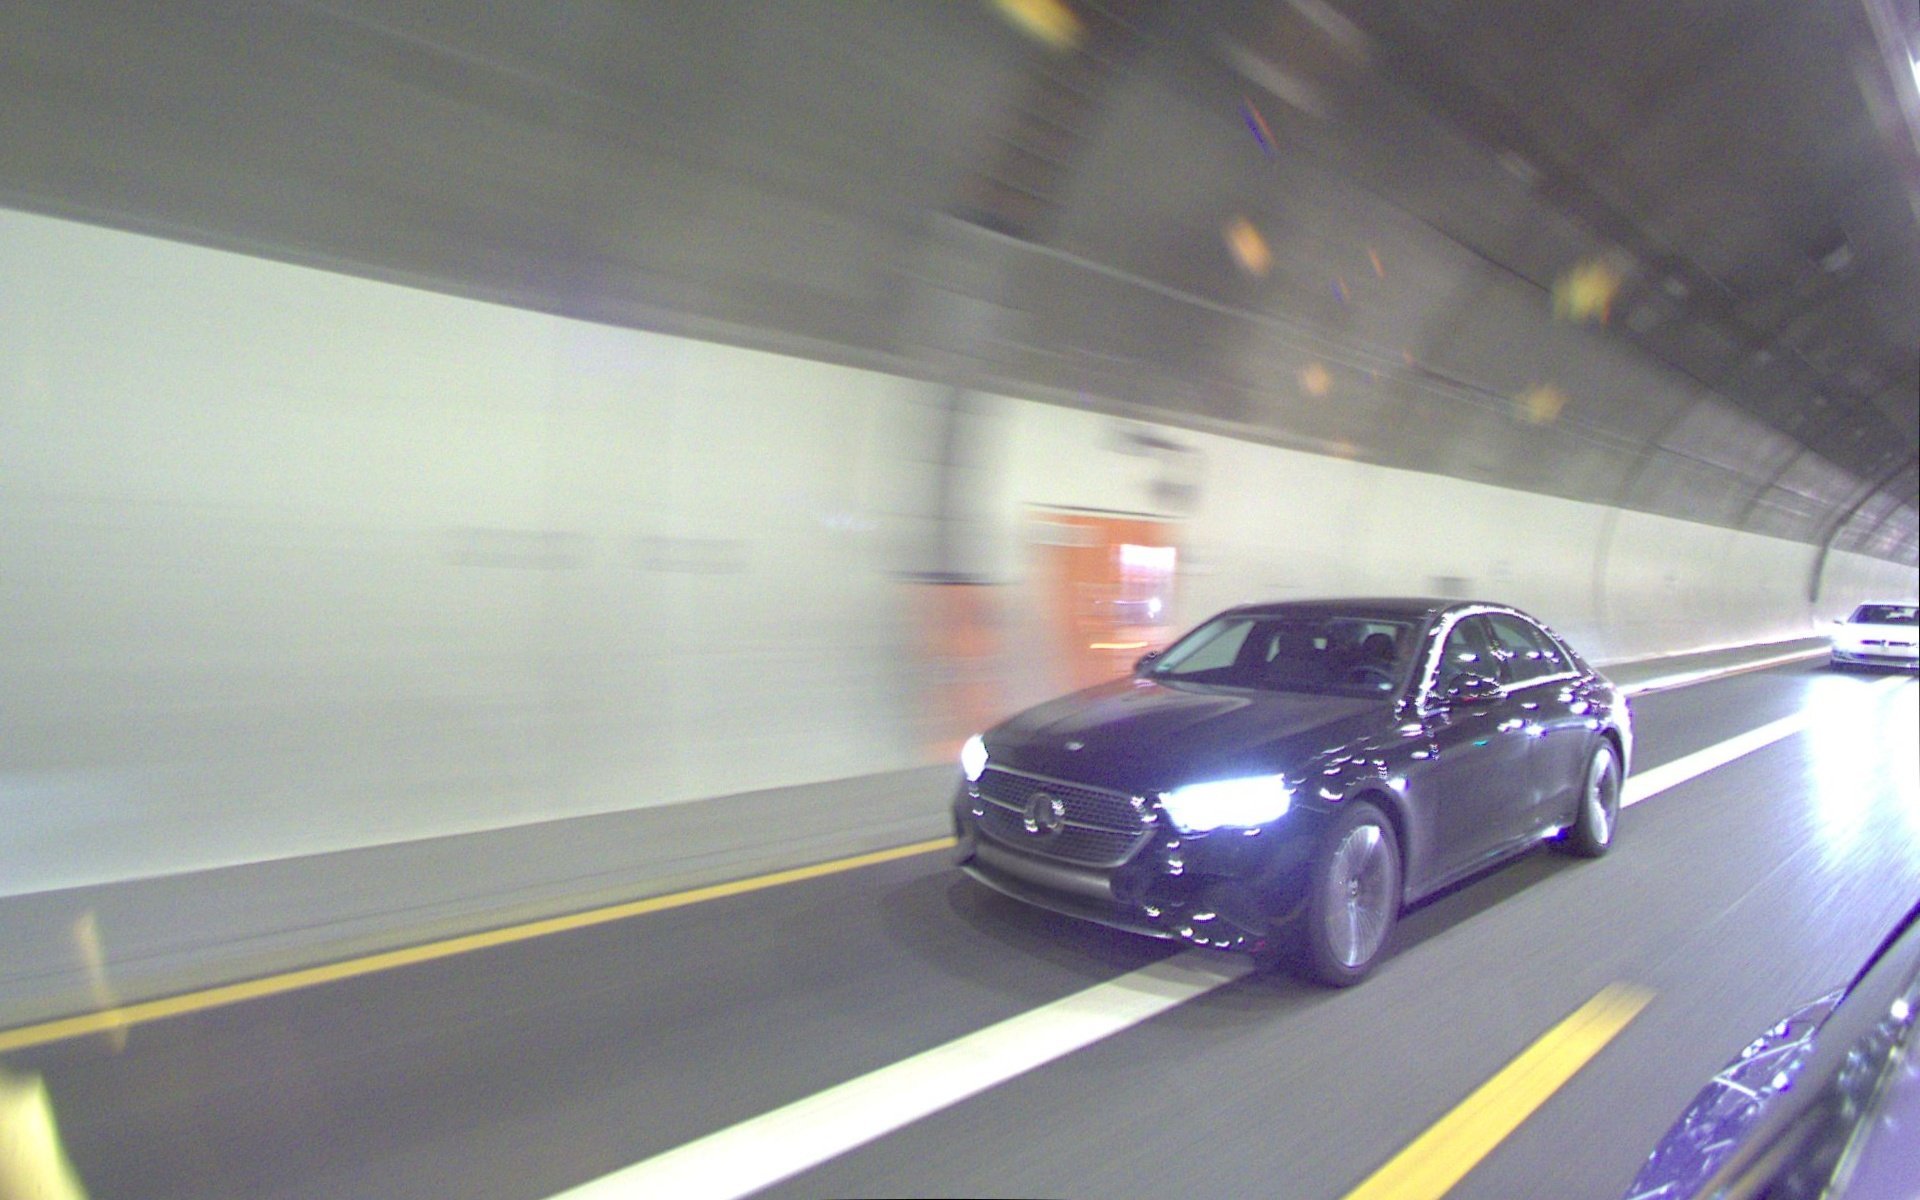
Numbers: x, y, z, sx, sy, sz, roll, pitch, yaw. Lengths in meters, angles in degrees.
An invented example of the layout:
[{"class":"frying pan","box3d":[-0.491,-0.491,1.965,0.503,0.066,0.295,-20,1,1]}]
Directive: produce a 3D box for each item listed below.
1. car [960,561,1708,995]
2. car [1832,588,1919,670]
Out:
[{"class":"car","box3d":[2.482,0.595,5.883,4.867,1.490,1.930,0,3,-41]},{"class":"car","box3d":[19.408,0.575,20.596,3.962,1.478,1.802,1,3,-39]}]
